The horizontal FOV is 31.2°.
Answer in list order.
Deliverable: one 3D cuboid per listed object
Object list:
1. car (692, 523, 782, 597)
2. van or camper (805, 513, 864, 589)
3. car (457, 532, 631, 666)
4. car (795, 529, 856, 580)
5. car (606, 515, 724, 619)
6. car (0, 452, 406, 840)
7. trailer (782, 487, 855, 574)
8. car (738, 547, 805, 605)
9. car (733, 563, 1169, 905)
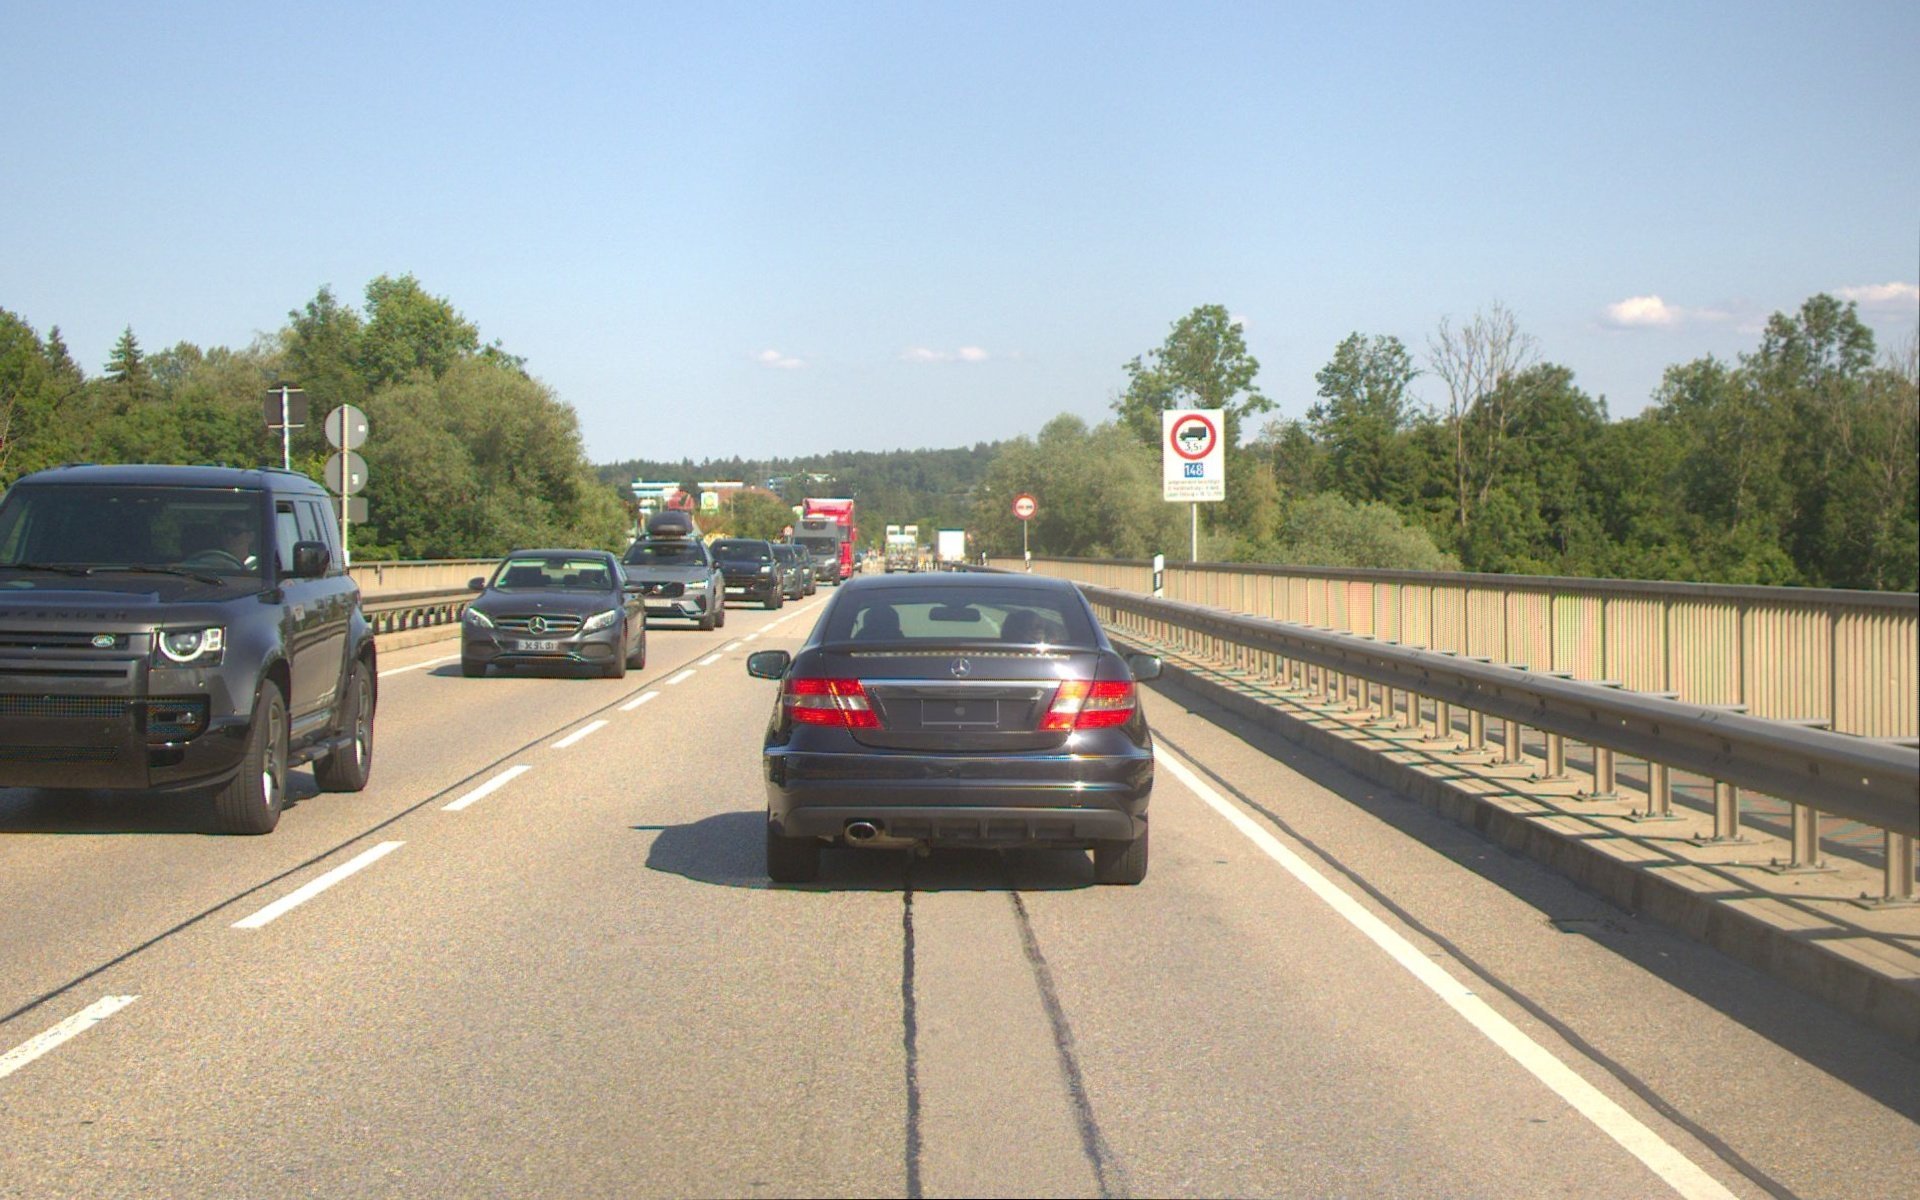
[{"bbox_3d":[-5.407,-0.992,83.447,2.053,1.647,4.722,2,1,-4],"label":"car"},{"bbox_3d":[-5.275,-2.046,143.302,2.315,3.040,6.818,2,1,-3],"label":"van or camper"},{"bbox_3d":[-4.730,-0.054,39.520,1.765,1.442,4.457,1,1,-4],"label":"car"},{"bbox_3d":[-4.323,-1.479,110.118,1.874,1.578,4.275,1,1,-3],"label":"car"},{"bbox_3d":[-5.267,-0.621,61.820,1.854,1.716,4.567,2,1,-2],"label":"car"},{"bbox_3d":[-4.489,0.170,19.199,2.037,1.867,5.070,1,1,-1],"label":"car"},{"bbox_3d":[-7.418,-3.623,178.845,2.907,4.287,14.305,1,1,-6],"label":"trailer"},{"bbox_3d":[-5.414,-0.699,98.407,1.806,1.572,4.202,1,1,-4],"label":"car"},{"bbox_3d":[-0.061,0.537,16.282,1.793,1.371,4.000,1,1,-1],"label":"car"}]
